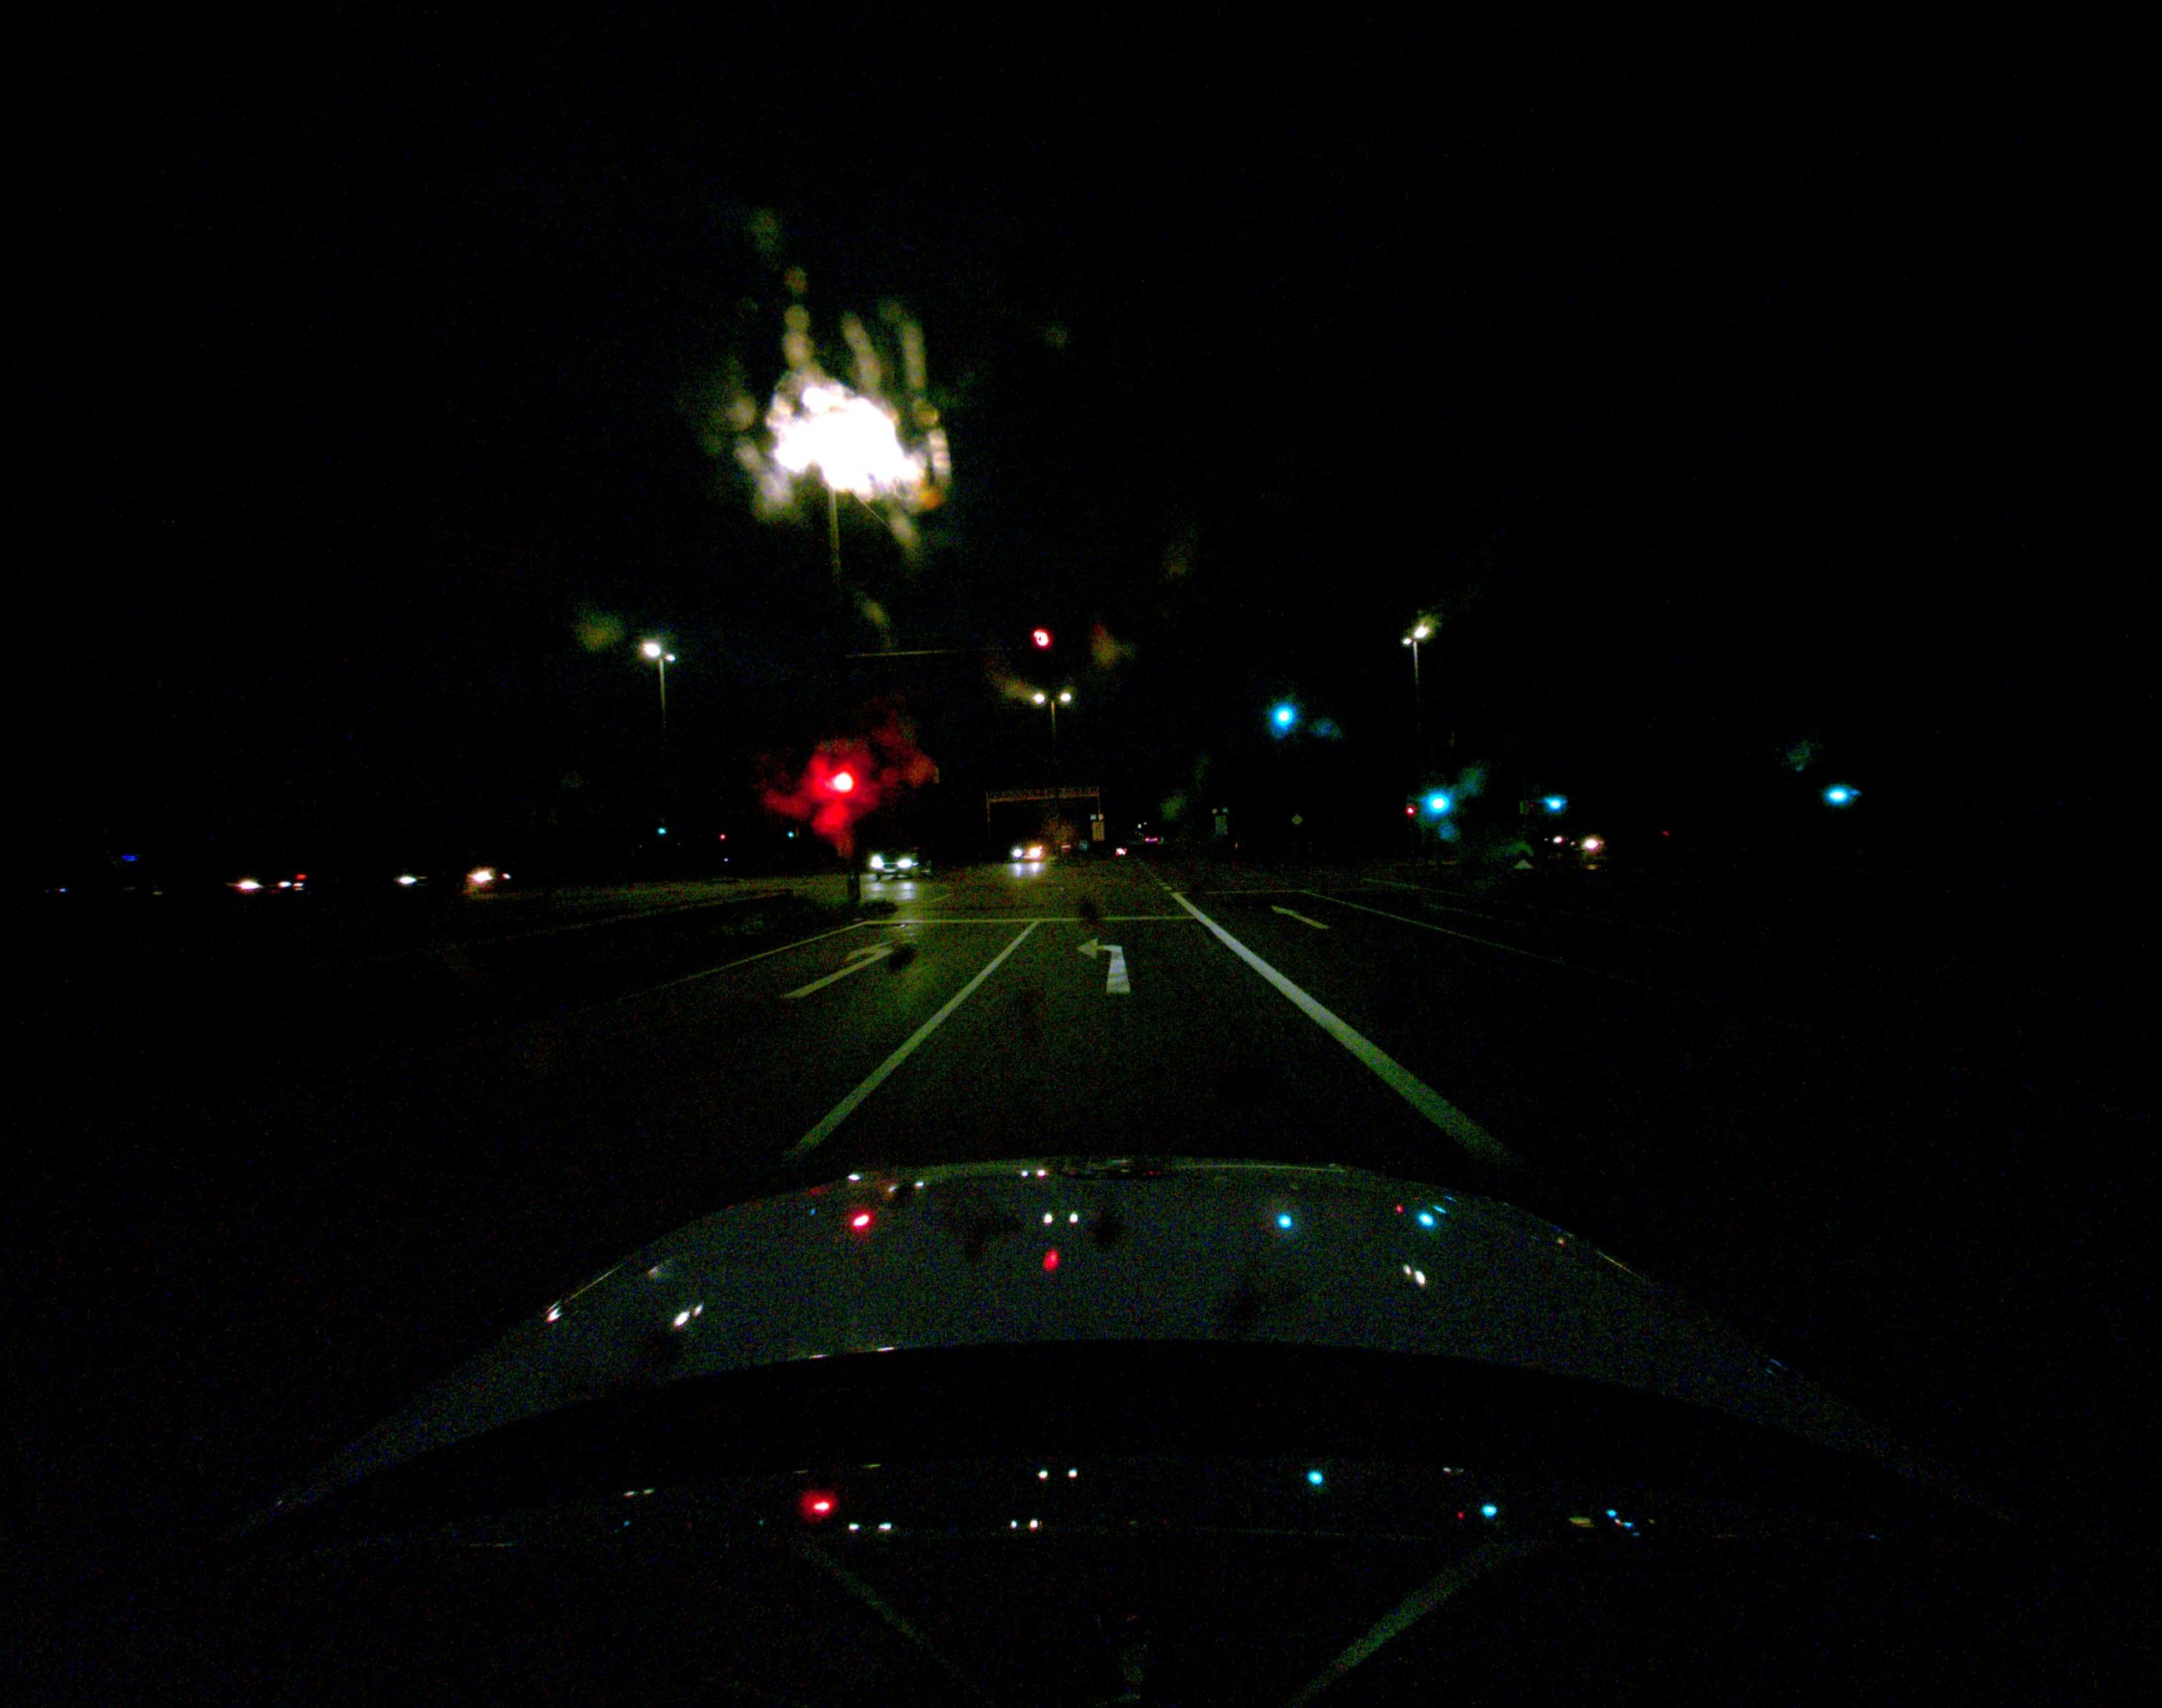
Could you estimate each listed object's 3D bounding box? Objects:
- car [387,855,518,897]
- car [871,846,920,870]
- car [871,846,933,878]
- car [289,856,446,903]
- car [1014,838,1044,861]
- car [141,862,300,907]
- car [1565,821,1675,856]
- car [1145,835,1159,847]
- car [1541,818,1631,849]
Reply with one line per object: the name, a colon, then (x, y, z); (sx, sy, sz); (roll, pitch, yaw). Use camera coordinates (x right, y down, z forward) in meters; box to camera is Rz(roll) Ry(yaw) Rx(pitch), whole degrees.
car: (-26.225, 0.898, 34.094); (4.029, 1.537, 1.729); (-2, 0, -1)
car: (-12.039, 0.242, 53.197); (1.986, 1.425, 4.534); (-2, 1, 1)
car: (-9.067, 0.375, 41.662); (1.986, 1.481, 4.684); (-2, 1, 1)
car: (-26.750, 0.946, 30.619); (4.298, 1.537, 1.730); (-2, 0, 0)
car: (-4.138, -0.356, 64.944); (1.986, 1.698, 4.002); (-2, 1, 1)
car: (-32.750, 1.149, 31.086); (3.979, 1.473, 1.727); (-2, 0, -4)
car: (26.160, -0.764, 39.624); (4.062, 1.569, 2.002); (-2, 1, -1)
car: (10.457, -1.916, 120.121); (1.998, 1.611, 3.850); (-1, 0, 5)
car: (28.751, -1.185, 46.452); (3.975, 1.569, 1.900); (-2, 1, -1)
